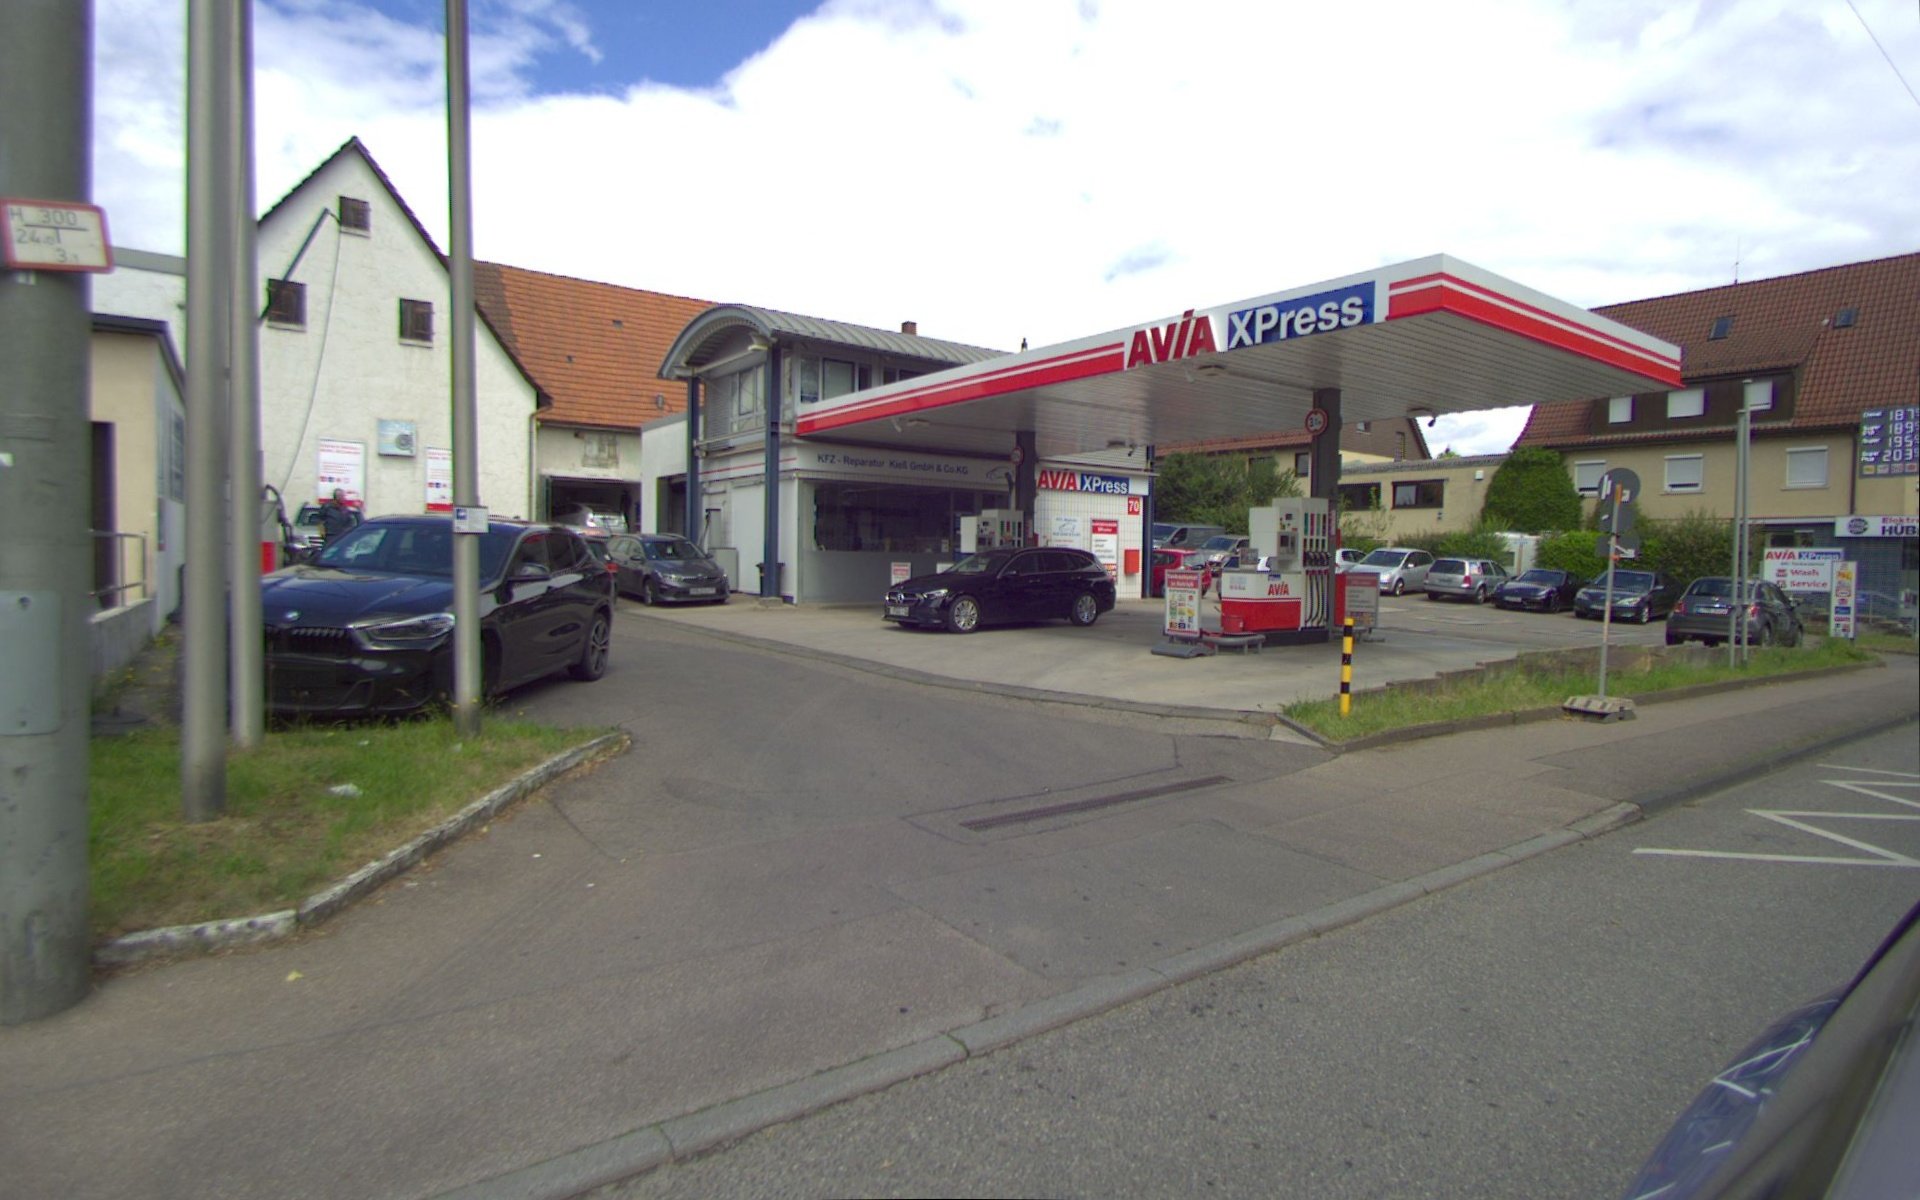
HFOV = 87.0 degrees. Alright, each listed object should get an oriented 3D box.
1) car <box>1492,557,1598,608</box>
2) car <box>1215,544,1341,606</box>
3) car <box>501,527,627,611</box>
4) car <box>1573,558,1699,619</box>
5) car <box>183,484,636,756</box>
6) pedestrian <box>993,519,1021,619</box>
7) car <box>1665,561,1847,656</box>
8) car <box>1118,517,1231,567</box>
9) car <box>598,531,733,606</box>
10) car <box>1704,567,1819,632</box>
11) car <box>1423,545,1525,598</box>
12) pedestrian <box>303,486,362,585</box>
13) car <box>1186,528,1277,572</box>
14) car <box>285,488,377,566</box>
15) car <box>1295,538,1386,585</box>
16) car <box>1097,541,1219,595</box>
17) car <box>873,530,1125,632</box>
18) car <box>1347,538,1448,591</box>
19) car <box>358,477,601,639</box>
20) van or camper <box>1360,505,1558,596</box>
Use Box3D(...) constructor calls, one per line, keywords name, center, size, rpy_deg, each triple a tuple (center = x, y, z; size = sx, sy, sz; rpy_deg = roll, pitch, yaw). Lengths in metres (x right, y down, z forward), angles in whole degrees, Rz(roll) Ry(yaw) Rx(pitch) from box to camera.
Box3D(name="car", center=(18.278, -0.579, 31.576), size=(3.681, 1.388, 1.641), rpy_deg=(-2, 7, -40))
Box3D(name="car", center=(9.439, -0.792, 29.983), size=(3.678, 1.518, 1.637), rpy_deg=(-4, 8, -36))
Box3D(name="car", center=(-8.494, -0.714, 21.533), size=(1.590, 1.458, 3.758), rpy_deg=(5, 2, -35))
Box3D(name="car", center=(19.908, -0.389, 29.745), size=(4.574, 1.560, 1.717), rpy_deg=(-2, 7, -39))
Box3D(name="car", center=(-4.191, -0.022, 8.584), size=(1.604, 1.649, 4.325), rpy_deg=(3, 4, -2))
Box3D(name="pedestrian", center=(0.937, -0.616, 20.286), size=(0.530, 1.959, 0.587), rpy_deg=(0, 1, 0))
Box3D(name="car", center=(16.286, 0.125, 20.658), size=(4.080, 1.613, 1.623), rpy_deg=(0, 8, -35))
Box3D(name="car", center=(9.176, -2.452, 43.140), size=(5.047, 1.940, 1.924), rpy_deg=(-2, 7, -40))
Box3D(name="car", center=(-6.780, -0.797, 23.108), size=(1.684, 1.477, 3.755), rpy_deg=(-4, 6, -37))
Box3D(name="car", center=(22.516, -0.079, 28.383), size=(4.131, 1.546, 1.639), rpy_deg=(-2, 7, -41))
Box3D(name="car", center=(17.223, -0.978, 33.865), size=(3.681, 1.603, 1.641), rpy_deg=(-2, 7, -40))
Box3D(name="pedestrian", center=(-12.046, -1.221, 19.428), size=(0.674, 1.868, 0.672), rpy_deg=(0, 1, 12))
Box3D(name="car", center=(11.144, -2.045, 41.442), size=(3.883, 1.650, 1.571), rpy_deg=(-2, 7, -40))
Box3D(name="car", center=(-14.875, -1.684, 24.030), size=(1.661, 1.582, 4.003), rpy_deg=(3, 1, -31))
Box3D(name="car", center=(14.095, -1.427, 37.424), size=(3.437, 1.587, 1.571), rpy_deg=(-2, 7, -40))
Box3D(name="car", center=(6.167, -1.054, 31.860), size=(1.590, 1.477, 3.758), rpy_deg=(-4, 6, -34))
Box3D(name="car", center=(0.781, -0.386, 18.163), size=(4.486, 1.628, 1.635), rpy_deg=(-2, 2, -36))
Box3D(name="car", center=(15.480, -1.271, 35.725), size=(3.977, 1.702, 1.571), rpy_deg=(-2, 7, -40))
Box3D(name="car", center=(-6.470, -0.595, 14.234), size=(1.788, 1.737, 4.619), rpy_deg=(5, 2, -10))
Box3D(name="van or camper", center=(18.547, -1.919, 37.927), size=(2.487, 2.883, 5.977), rpy_deg=(0, 6, -40))
